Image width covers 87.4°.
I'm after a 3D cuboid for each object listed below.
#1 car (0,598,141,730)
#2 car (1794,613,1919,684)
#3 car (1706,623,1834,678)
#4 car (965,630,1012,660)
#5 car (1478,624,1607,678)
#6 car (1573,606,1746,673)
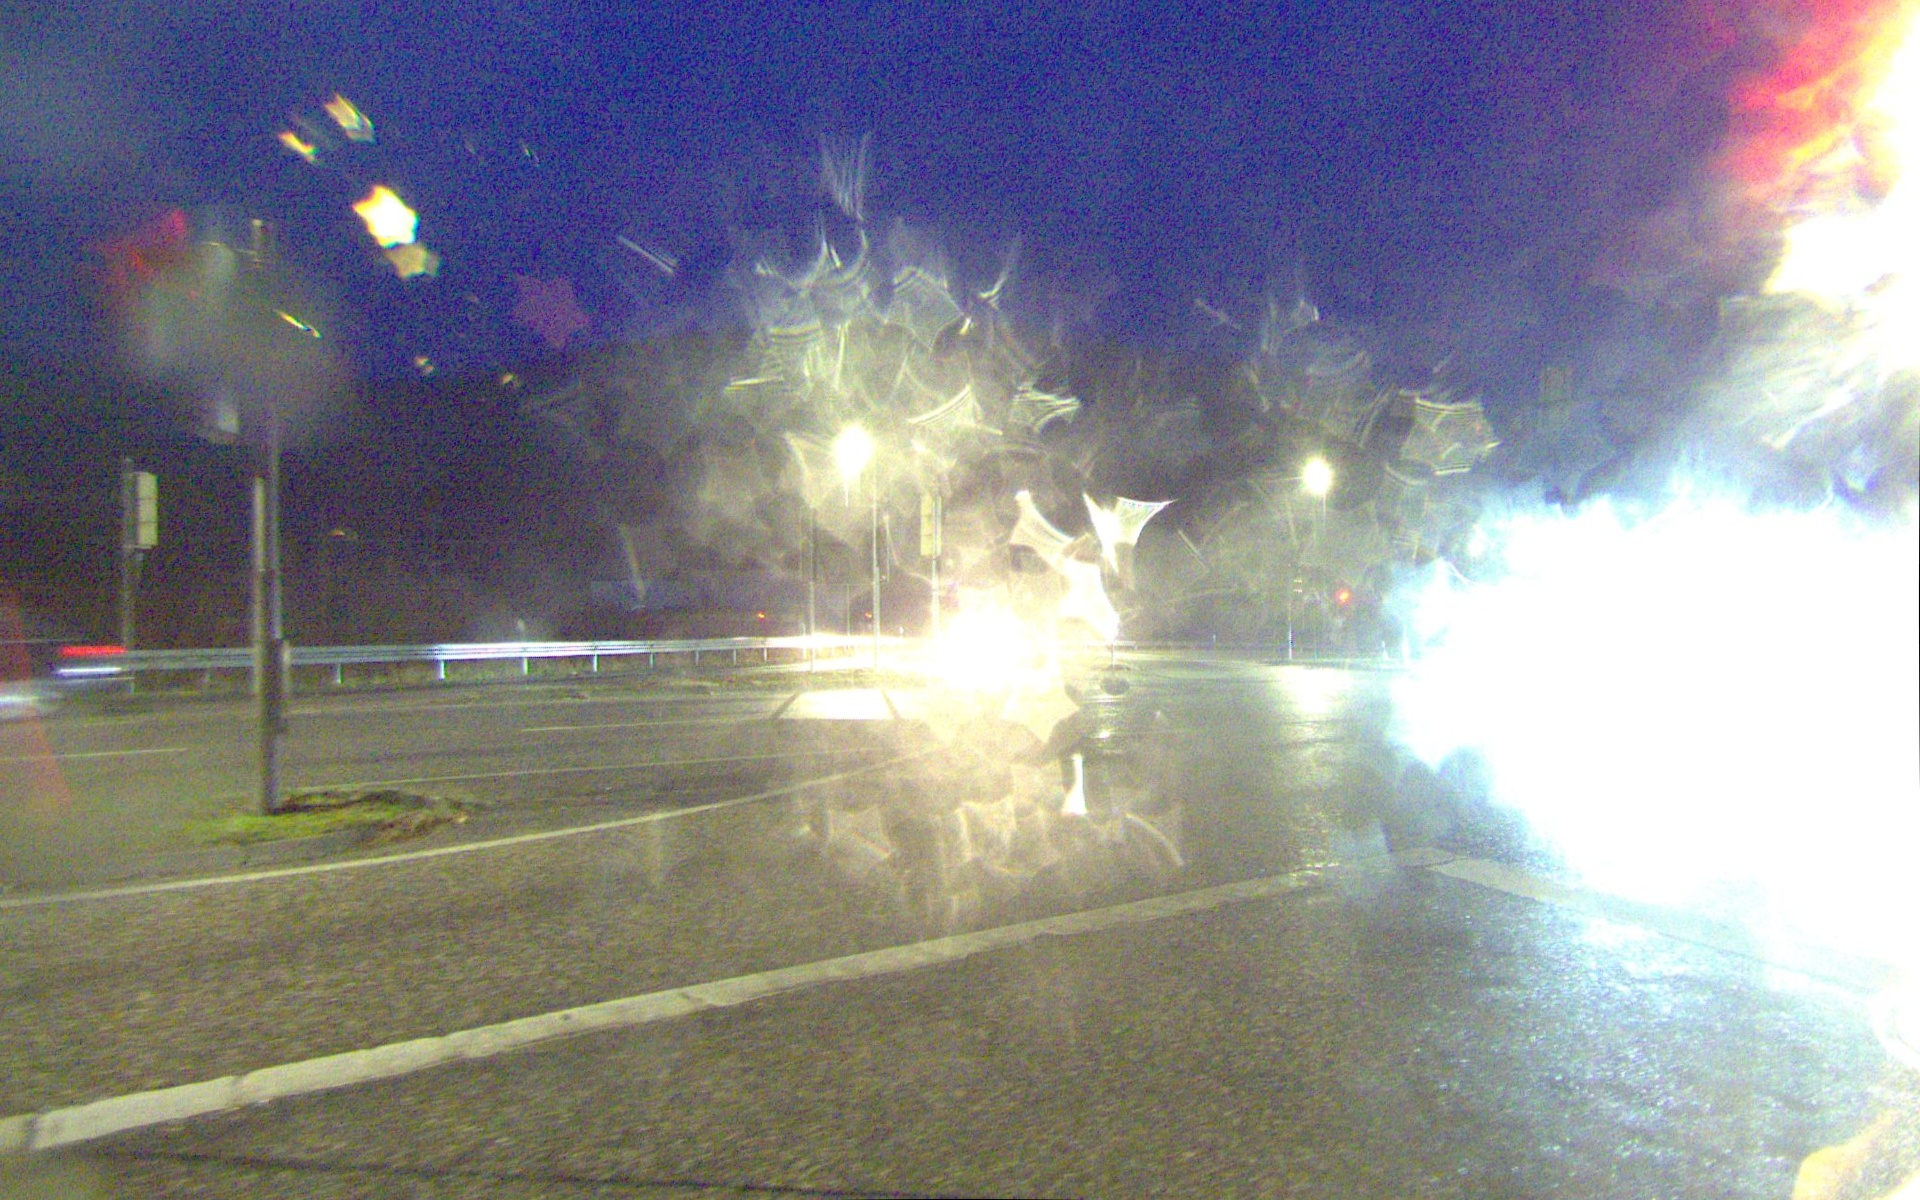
[{"bbox_3d":[-12.506,0.699,11.255,1.724,1.523,4.875,1,-1,37],"label":"car"},{"bbox_3d":[22.428,1.146,24.403,4.652,1.592,1.692,1,-1,-28],"label":"car"},{"bbox_3d":[23.534,1.466,29.173,3.683,1.473,1.660,2,-1,-29],"label":"car"},{"bbox_3d":[1.570,2.437,54.088,1.625,1.518,4.378,-1,-3,14],"label":"car"},{"bbox_3d":[21.362,1.830,37.013,3.924,1.856,1.720,0,-1,24],"label":"car"},{"bbox_3d":[18.105,1.003,25.932,4.855,1.592,1.784,1,-1,-30],"label":"car"}]
